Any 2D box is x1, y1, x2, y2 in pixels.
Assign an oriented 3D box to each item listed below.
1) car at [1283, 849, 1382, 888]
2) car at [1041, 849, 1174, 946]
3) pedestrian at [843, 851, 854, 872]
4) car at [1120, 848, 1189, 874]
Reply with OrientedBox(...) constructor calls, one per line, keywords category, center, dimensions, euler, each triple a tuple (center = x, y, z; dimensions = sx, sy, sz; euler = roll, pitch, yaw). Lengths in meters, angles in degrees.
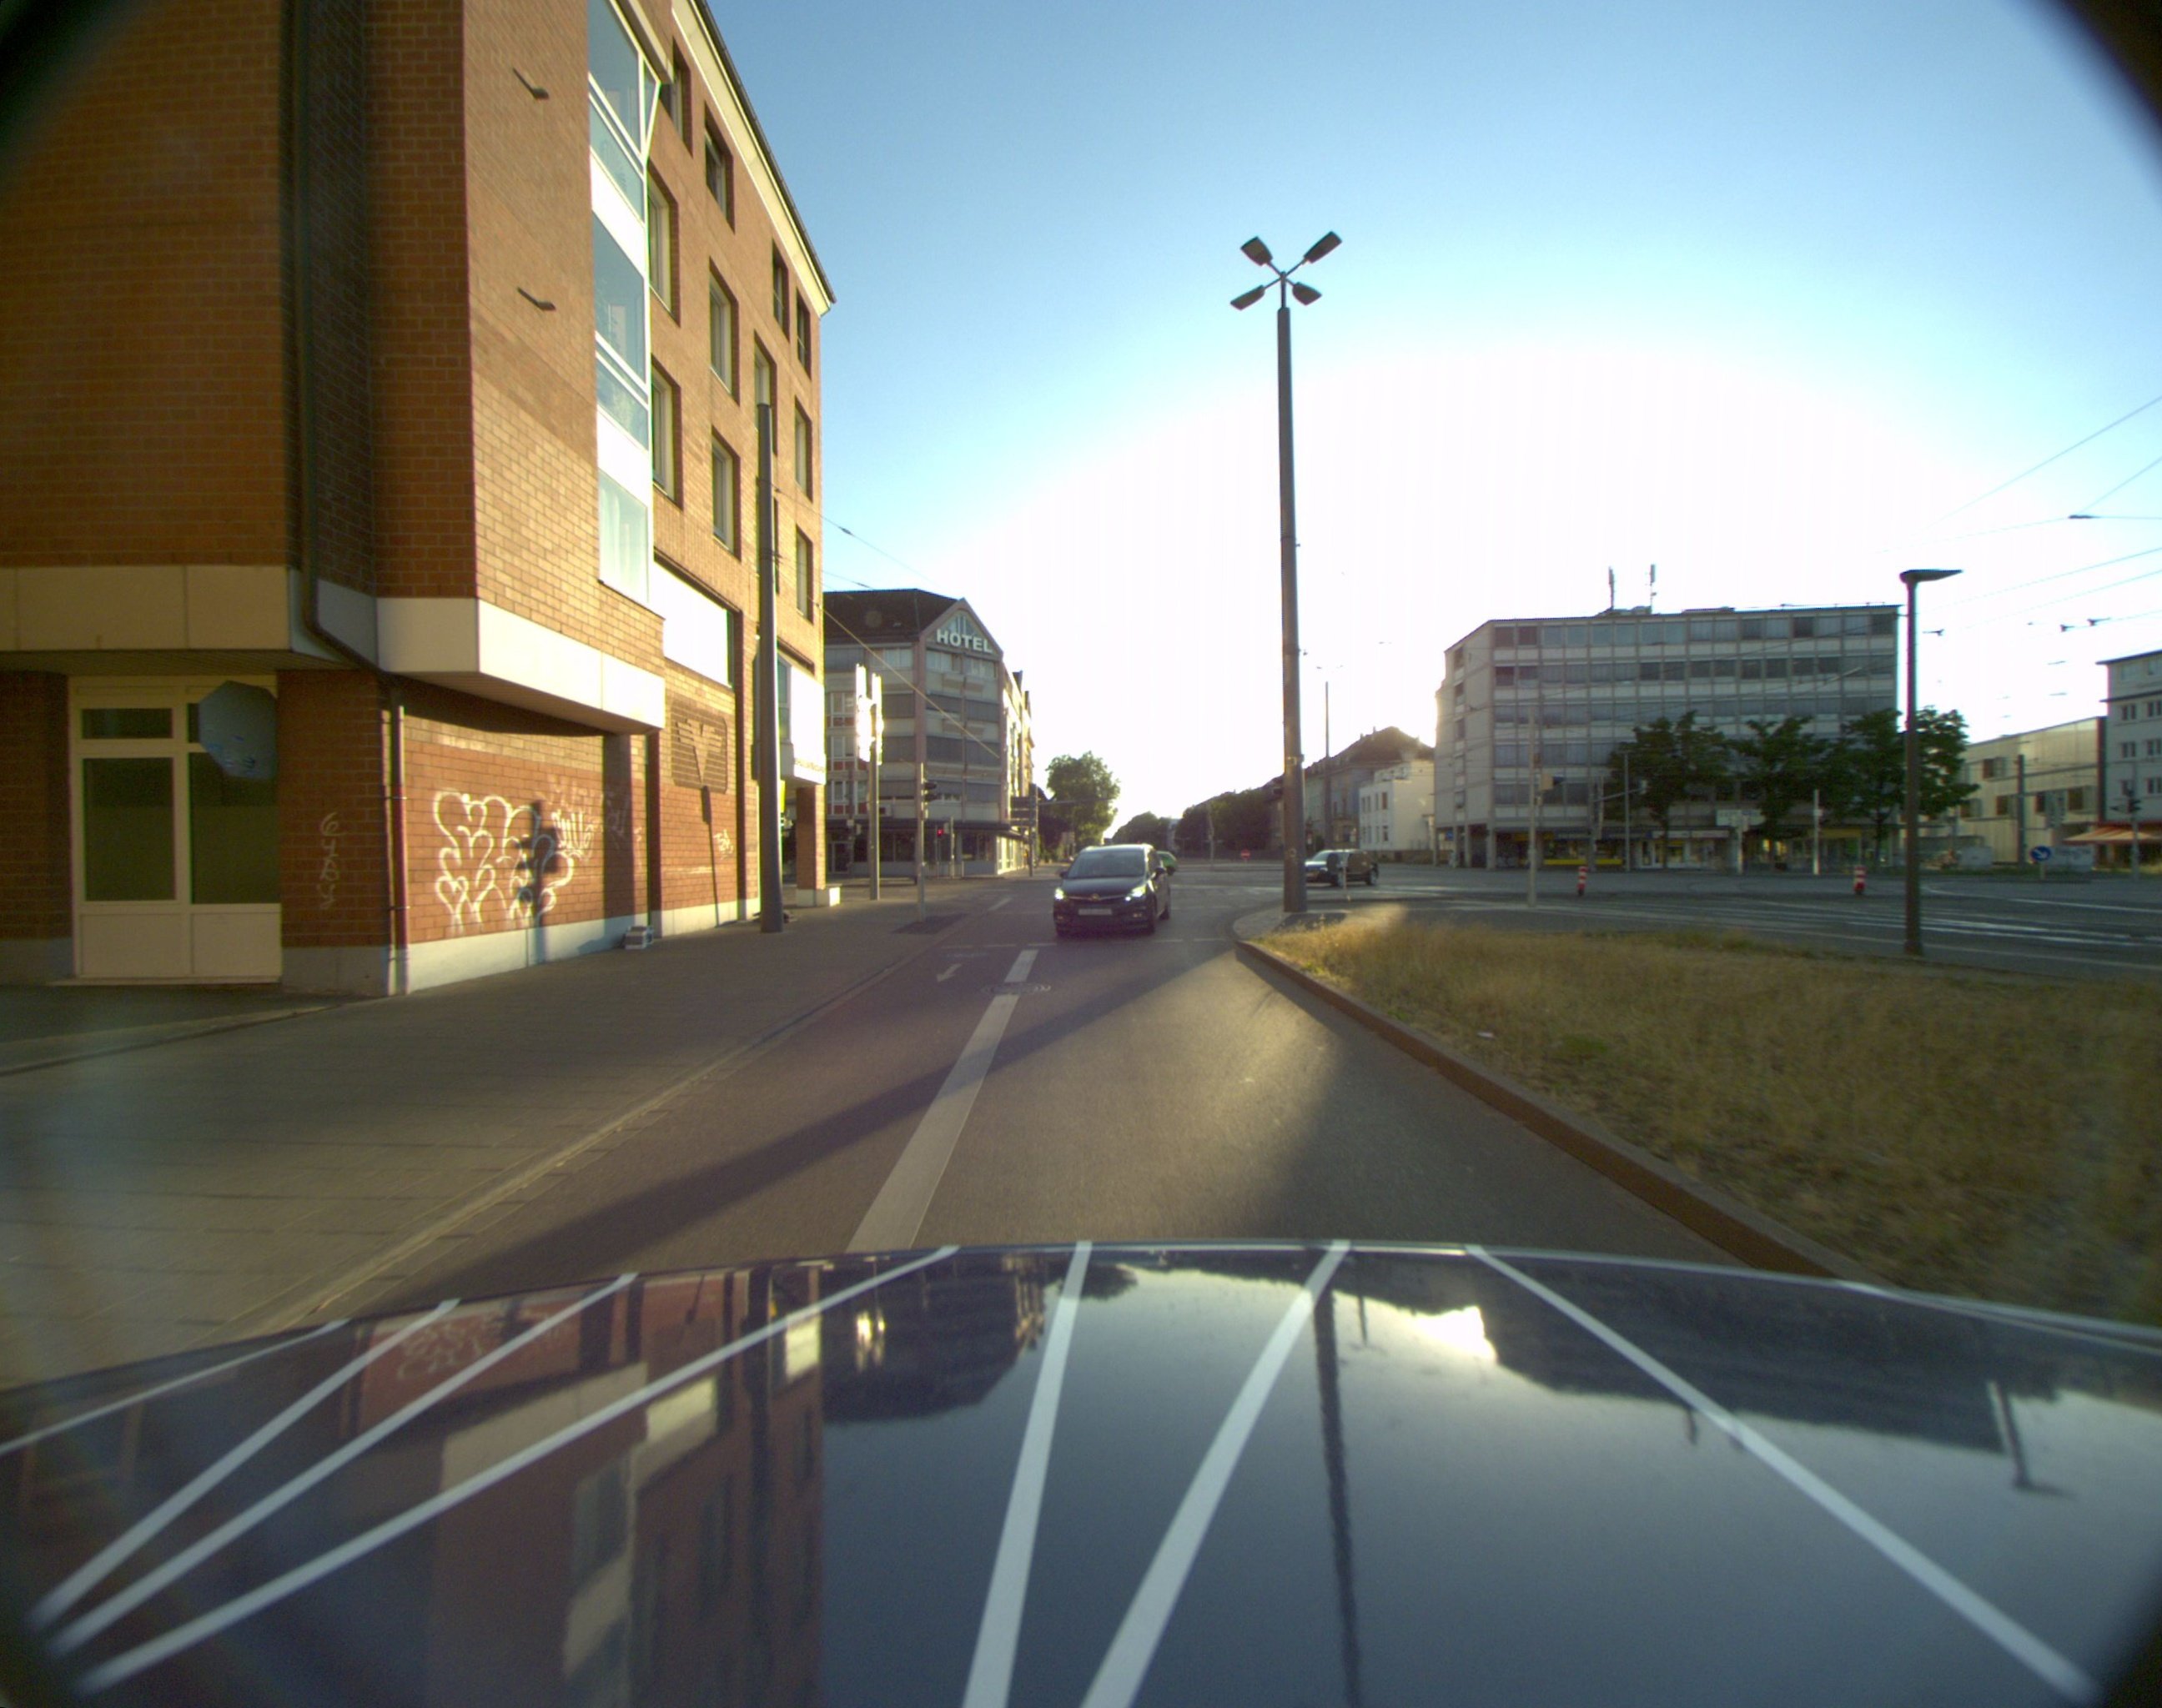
OrientedBox(category="car", center=(9.823, 0.513, 29.530), dimensions=(4.234, 1.400, 1.847), euler=(0, 0, -43))
OrientedBox(category="car", center=(0.688, 0.716, 14.902), dimensions=(1.798, 1.609, 4.391), euler=(0, 0, 13))
OrientedBox(category="pedestrian", center=(-15.932, 0.509, 52.056), dimensions=(0.470, 1.484, 0.478), euler=(0, 1, 38))
OrientedBox(category="car", center=(4.481, 0.440, 46.758), dimensions=(4.022, 1.557, 1.748), euler=(0, 0, -3))
